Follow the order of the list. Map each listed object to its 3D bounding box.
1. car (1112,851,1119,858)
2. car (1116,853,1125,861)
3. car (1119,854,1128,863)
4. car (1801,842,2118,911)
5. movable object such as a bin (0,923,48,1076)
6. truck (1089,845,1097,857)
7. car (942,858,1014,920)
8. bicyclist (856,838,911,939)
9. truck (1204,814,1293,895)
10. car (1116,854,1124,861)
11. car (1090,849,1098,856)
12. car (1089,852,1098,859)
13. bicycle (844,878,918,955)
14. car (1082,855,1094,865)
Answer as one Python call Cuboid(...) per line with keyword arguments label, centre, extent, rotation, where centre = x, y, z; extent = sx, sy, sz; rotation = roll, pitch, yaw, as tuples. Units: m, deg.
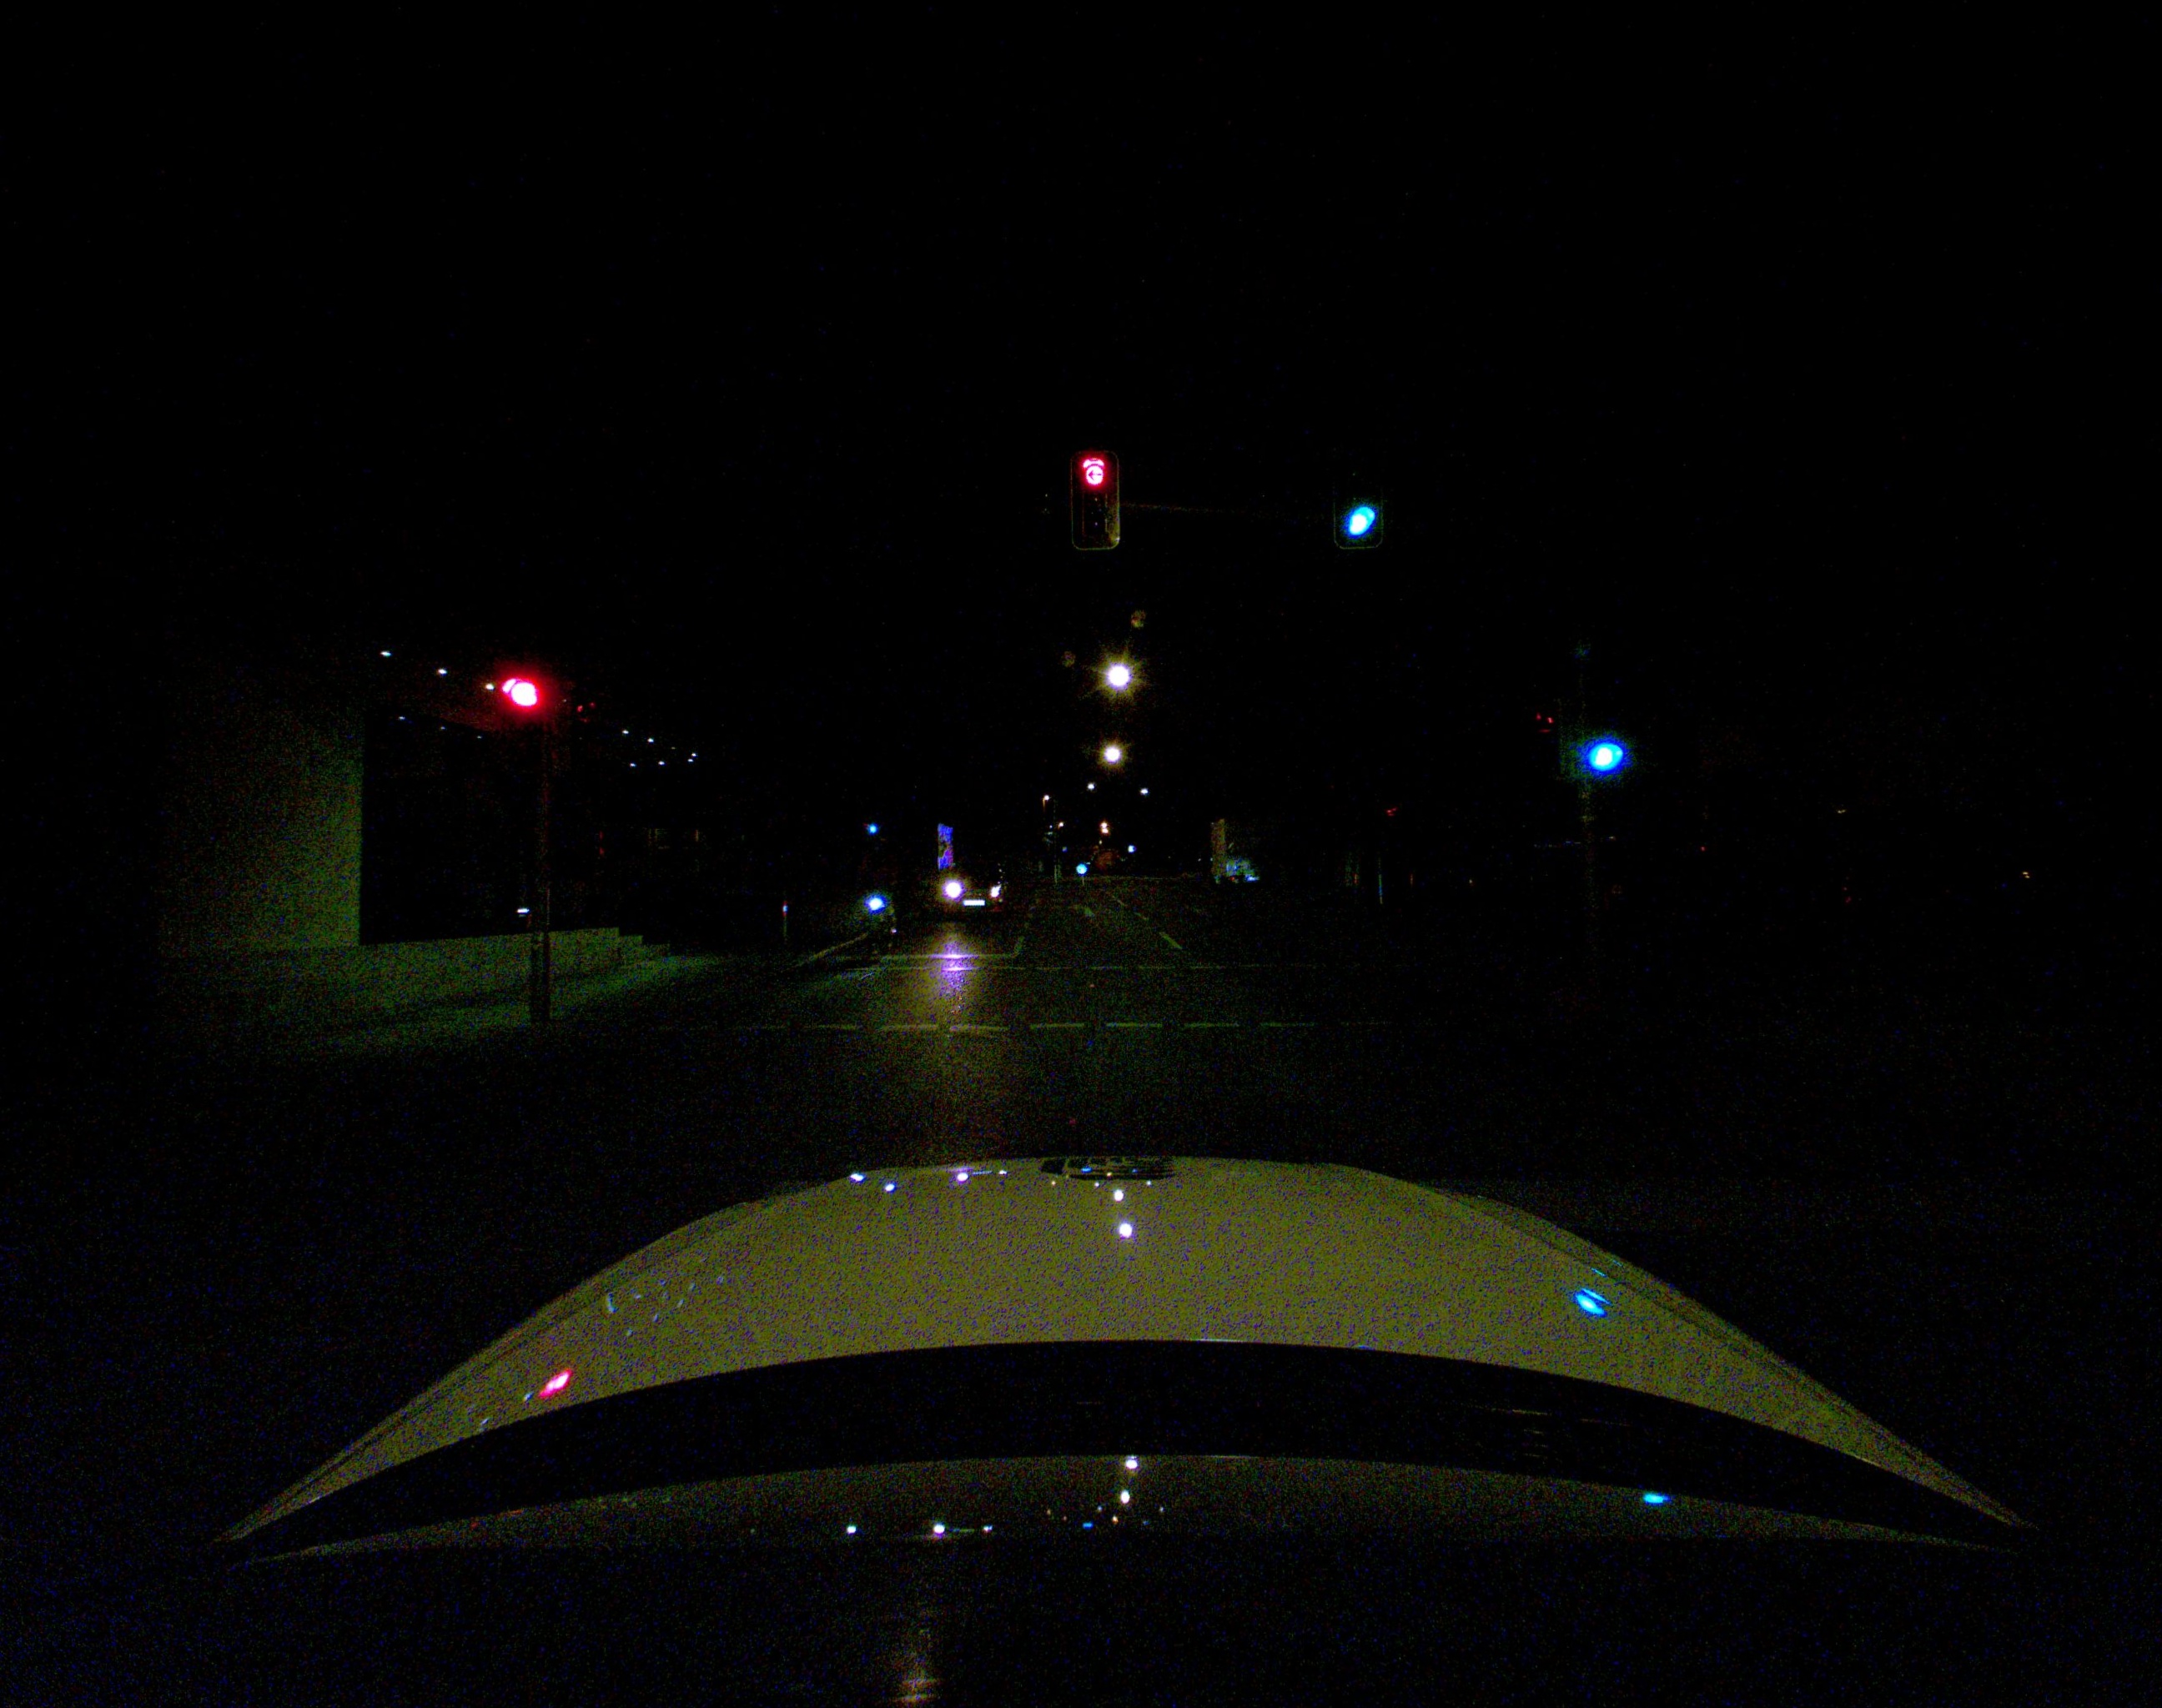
Cuboid(label="car", centre=(8.189, 0.149, 191.565), extent=(1.628, 1.452, 3.486), rotation=(0, 0, 2))
Cuboid(label="car", centre=(7.475, 0.639, 153.153), extent=(1.628, 1.452, 3.486), rotation=(0, 0, 2))
Cuboid(label="car", centre=(7.490, 0.815, 143.409), extent=(1.628, 1.452, 3.486), rotation=(0, 0, 2))
Cuboid(label="car", centre=(17.325, 0.449, 16.281), extent=(4.107, 1.280, 1.770), rotation=(-1, -1, 9))
Cuboid(label="movable object such as a bin", centre=(-7.924, 1.038, 5.712), extent=(0.633, 1.049, 0.657), rotation=(-1, -1, 19))
Cuboid(label="truck", centre=(3.145, -0.726, 209.818), extent=(2.079, 2.848, 5.831), rotation=(0, 0, 0))
Cuboid(label="car", centre=(-2.697, 0.867, 21.943), extent=(1.577, 1.501, 3.393), rotation=(-1, 0, -2))
Cuboid(label="bicyclist", centre=(-3.326, 0.569, 13.783), extent=(0.688, 1.637, 0.896), rotation=(-1, -1, 1))
Cuboid(label="truck", centre=(6.959, 0.034, 34.608), extent=(2.738, 3.110, 6.262), rotation=(0, 0, 2))
Cuboid(label="car", centre=(7.611, 0.700, 159.339), extent=(1.628, 1.452, 3.486), rotation=(0, 0, 2))
Cuboid(label="car", centre=(3.003, -0.338, 187.165), extent=(1.809, 1.491, 4.000), rotation=(0, 0, 0))
Cuboid(label="car", centre=(2.437, 0.305, 160.763), extent=(1.809, 1.491, 4.000), rotation=(0, 0, 0))
Cuboid(label="bicycle", centre=(-3.329, 1.009, 13.745), extent=(0.693, 1.149, 1.951), rotation=(-1, -1, 2))
Cuboid(label="car", centre=(1.200, 1.001, 134.637), extent=(1.808, 1.684, 4.002), rotation=(0, 0, 2))
